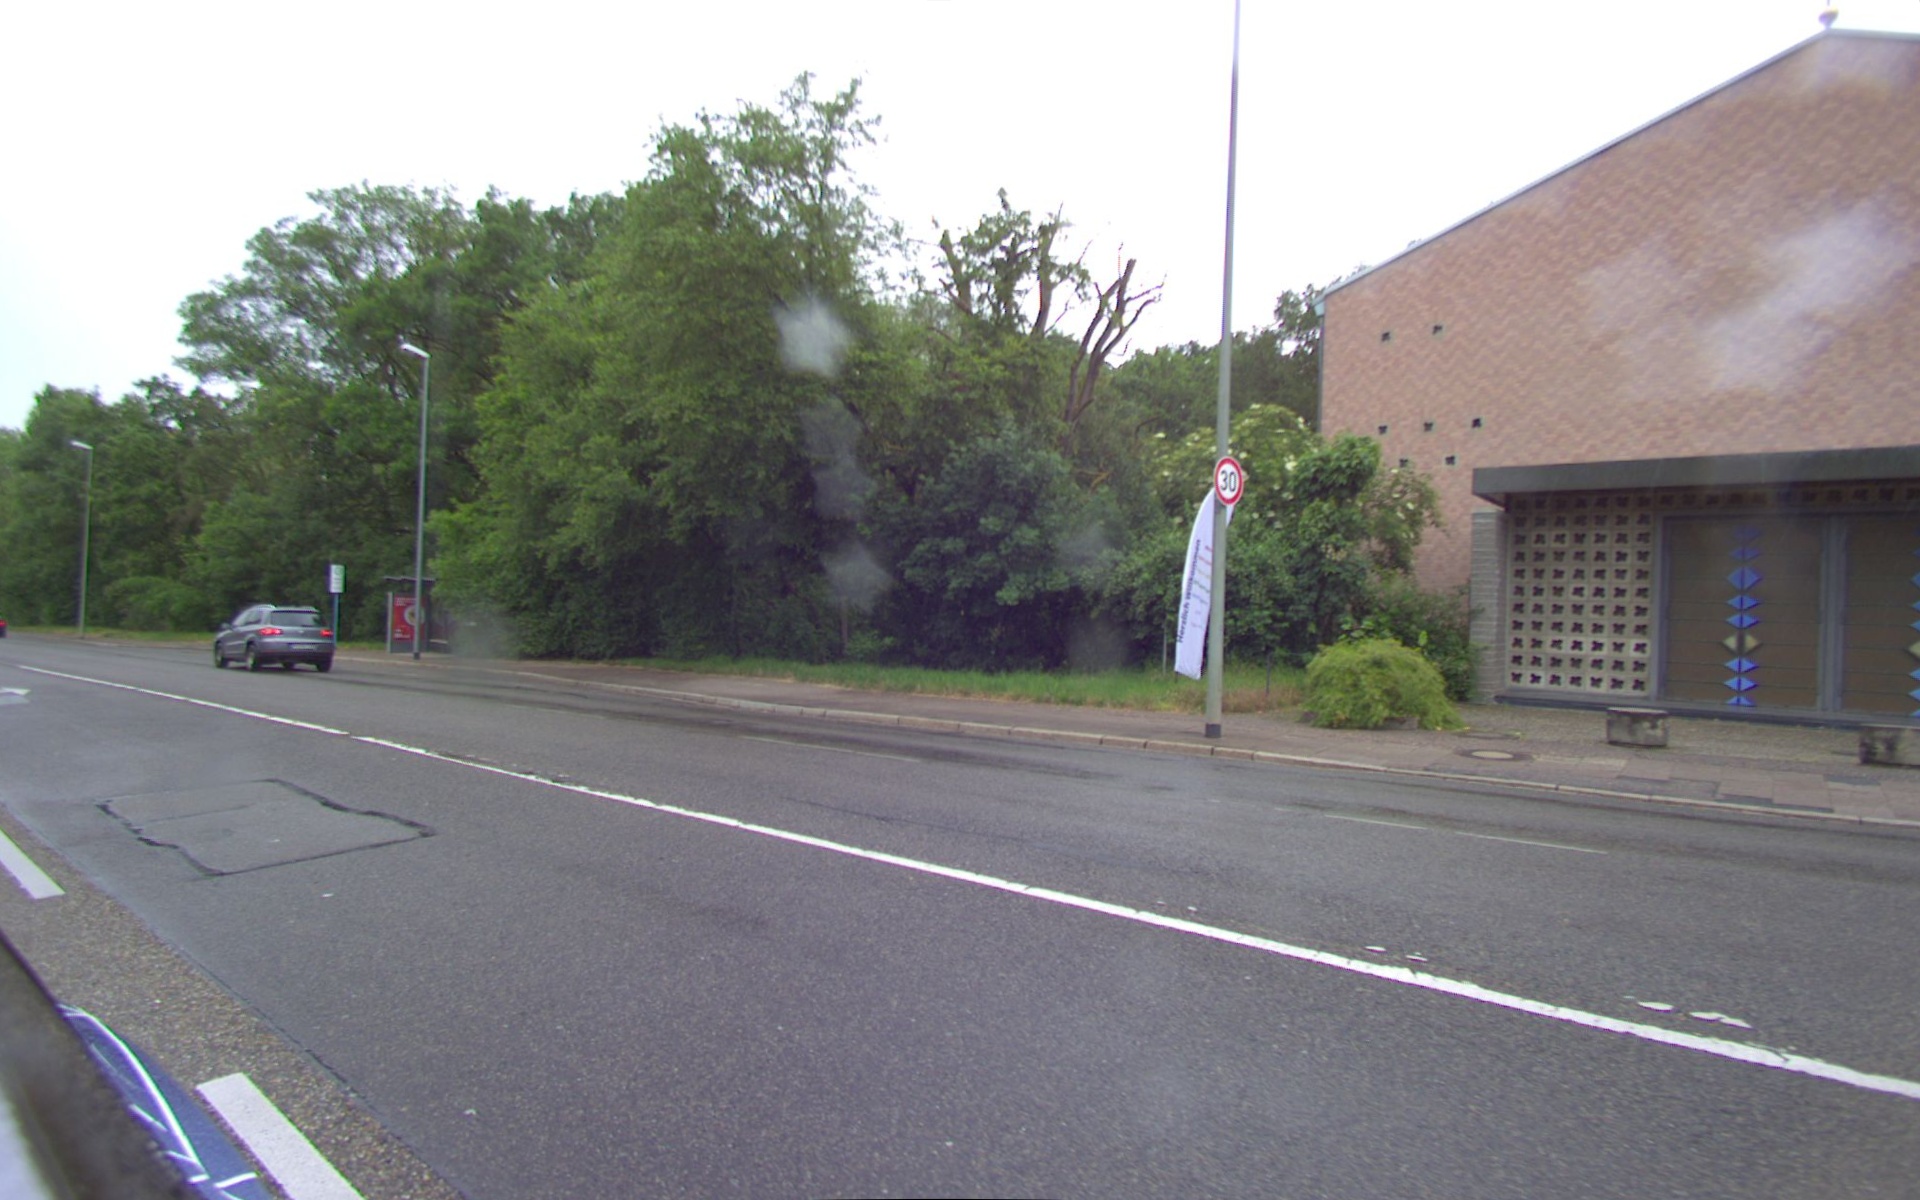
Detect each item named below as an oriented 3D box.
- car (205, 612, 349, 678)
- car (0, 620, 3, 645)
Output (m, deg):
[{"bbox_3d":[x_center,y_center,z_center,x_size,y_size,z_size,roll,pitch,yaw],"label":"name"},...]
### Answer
[{"bbox_3d":[-17.942,1.133,26.527,4.312,1.603,1.890,-1,-3,38],"label":"car"},{"bbox_3d":[-55.517,1.764,56.811,4.944,1.465,1.891,0,-5,39],"label":"car"}]
